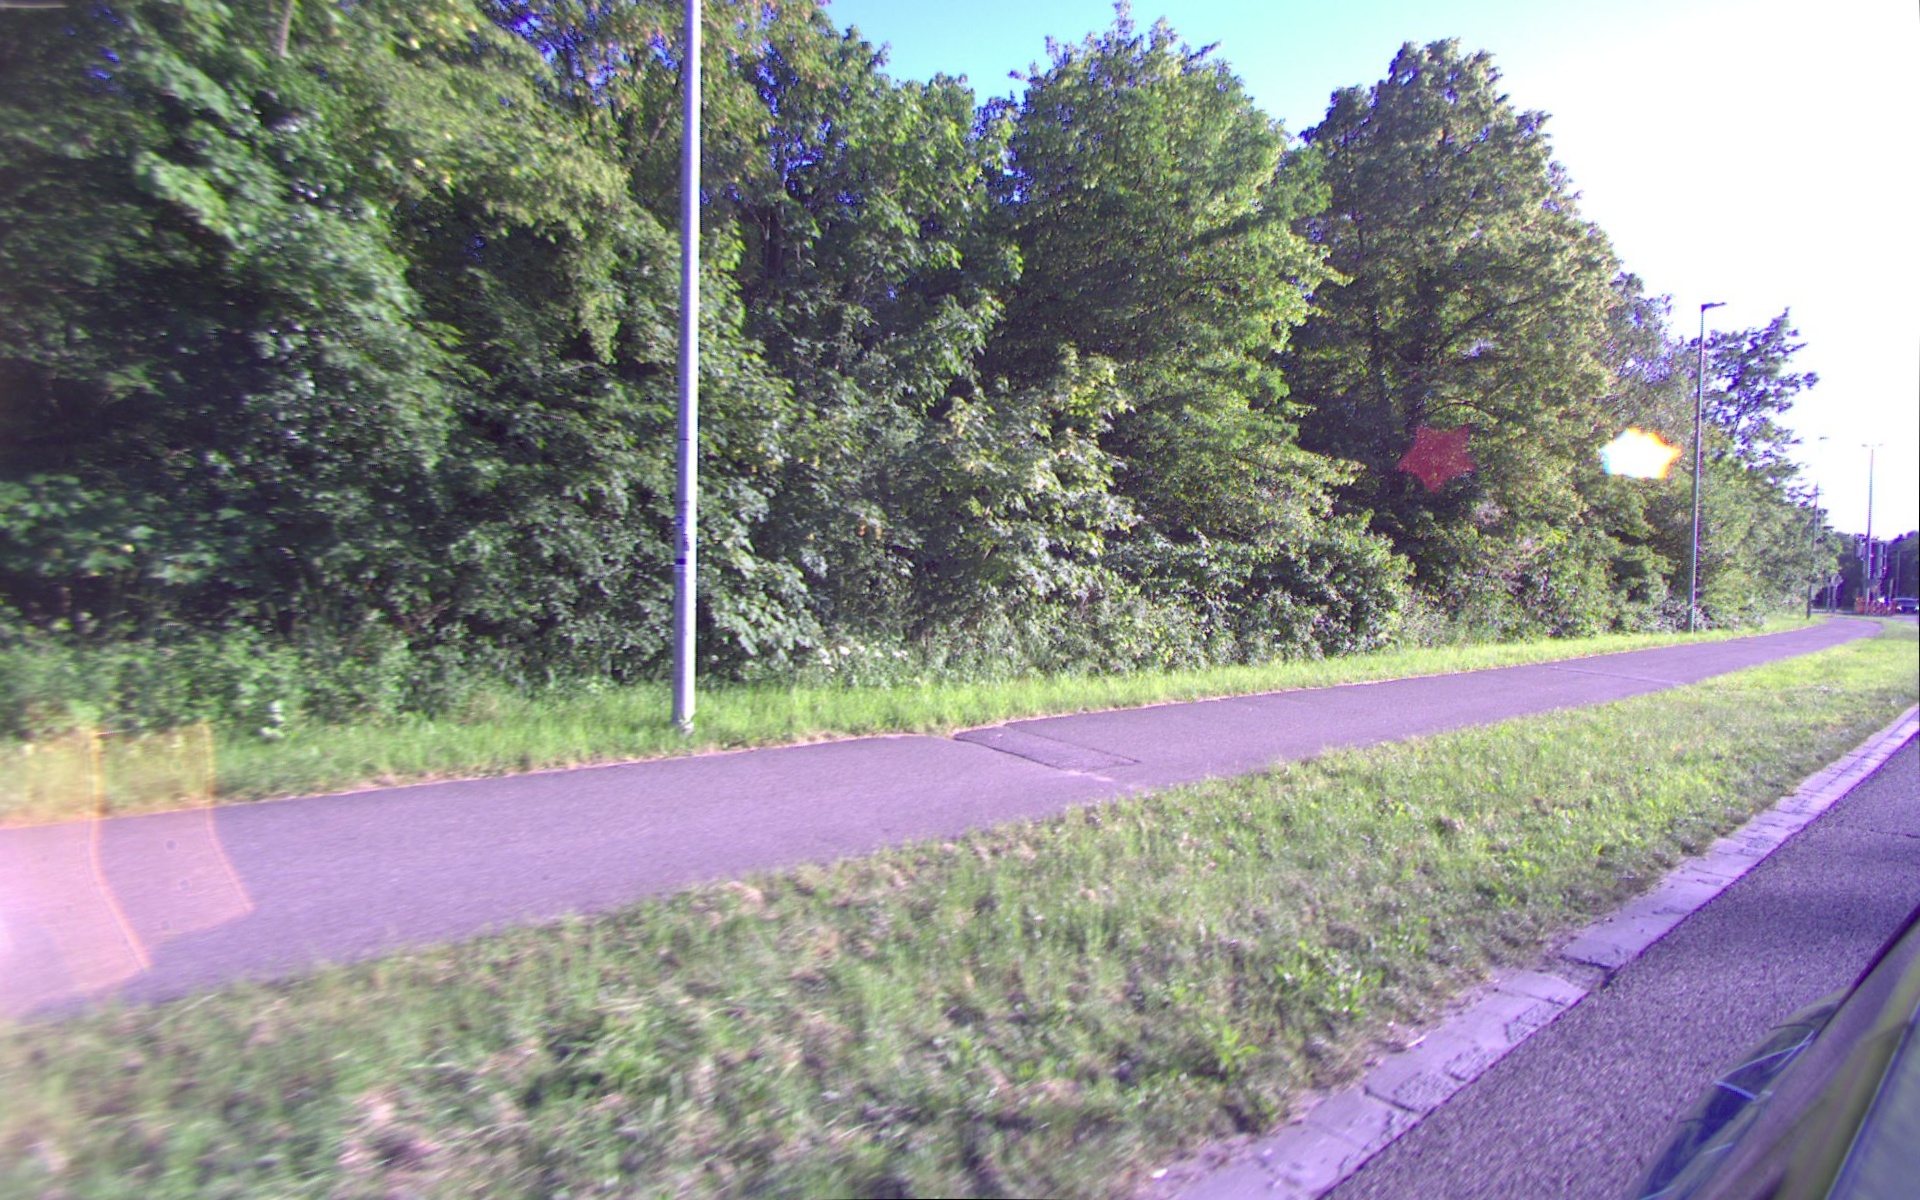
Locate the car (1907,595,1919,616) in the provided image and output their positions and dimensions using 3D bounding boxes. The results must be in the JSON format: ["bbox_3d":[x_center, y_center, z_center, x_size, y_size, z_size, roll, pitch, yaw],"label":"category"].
[{"bbox_3d":[102.563,0.568,107.982,1.992,2.094,3.942,1,2,41],"label":"car"}]
